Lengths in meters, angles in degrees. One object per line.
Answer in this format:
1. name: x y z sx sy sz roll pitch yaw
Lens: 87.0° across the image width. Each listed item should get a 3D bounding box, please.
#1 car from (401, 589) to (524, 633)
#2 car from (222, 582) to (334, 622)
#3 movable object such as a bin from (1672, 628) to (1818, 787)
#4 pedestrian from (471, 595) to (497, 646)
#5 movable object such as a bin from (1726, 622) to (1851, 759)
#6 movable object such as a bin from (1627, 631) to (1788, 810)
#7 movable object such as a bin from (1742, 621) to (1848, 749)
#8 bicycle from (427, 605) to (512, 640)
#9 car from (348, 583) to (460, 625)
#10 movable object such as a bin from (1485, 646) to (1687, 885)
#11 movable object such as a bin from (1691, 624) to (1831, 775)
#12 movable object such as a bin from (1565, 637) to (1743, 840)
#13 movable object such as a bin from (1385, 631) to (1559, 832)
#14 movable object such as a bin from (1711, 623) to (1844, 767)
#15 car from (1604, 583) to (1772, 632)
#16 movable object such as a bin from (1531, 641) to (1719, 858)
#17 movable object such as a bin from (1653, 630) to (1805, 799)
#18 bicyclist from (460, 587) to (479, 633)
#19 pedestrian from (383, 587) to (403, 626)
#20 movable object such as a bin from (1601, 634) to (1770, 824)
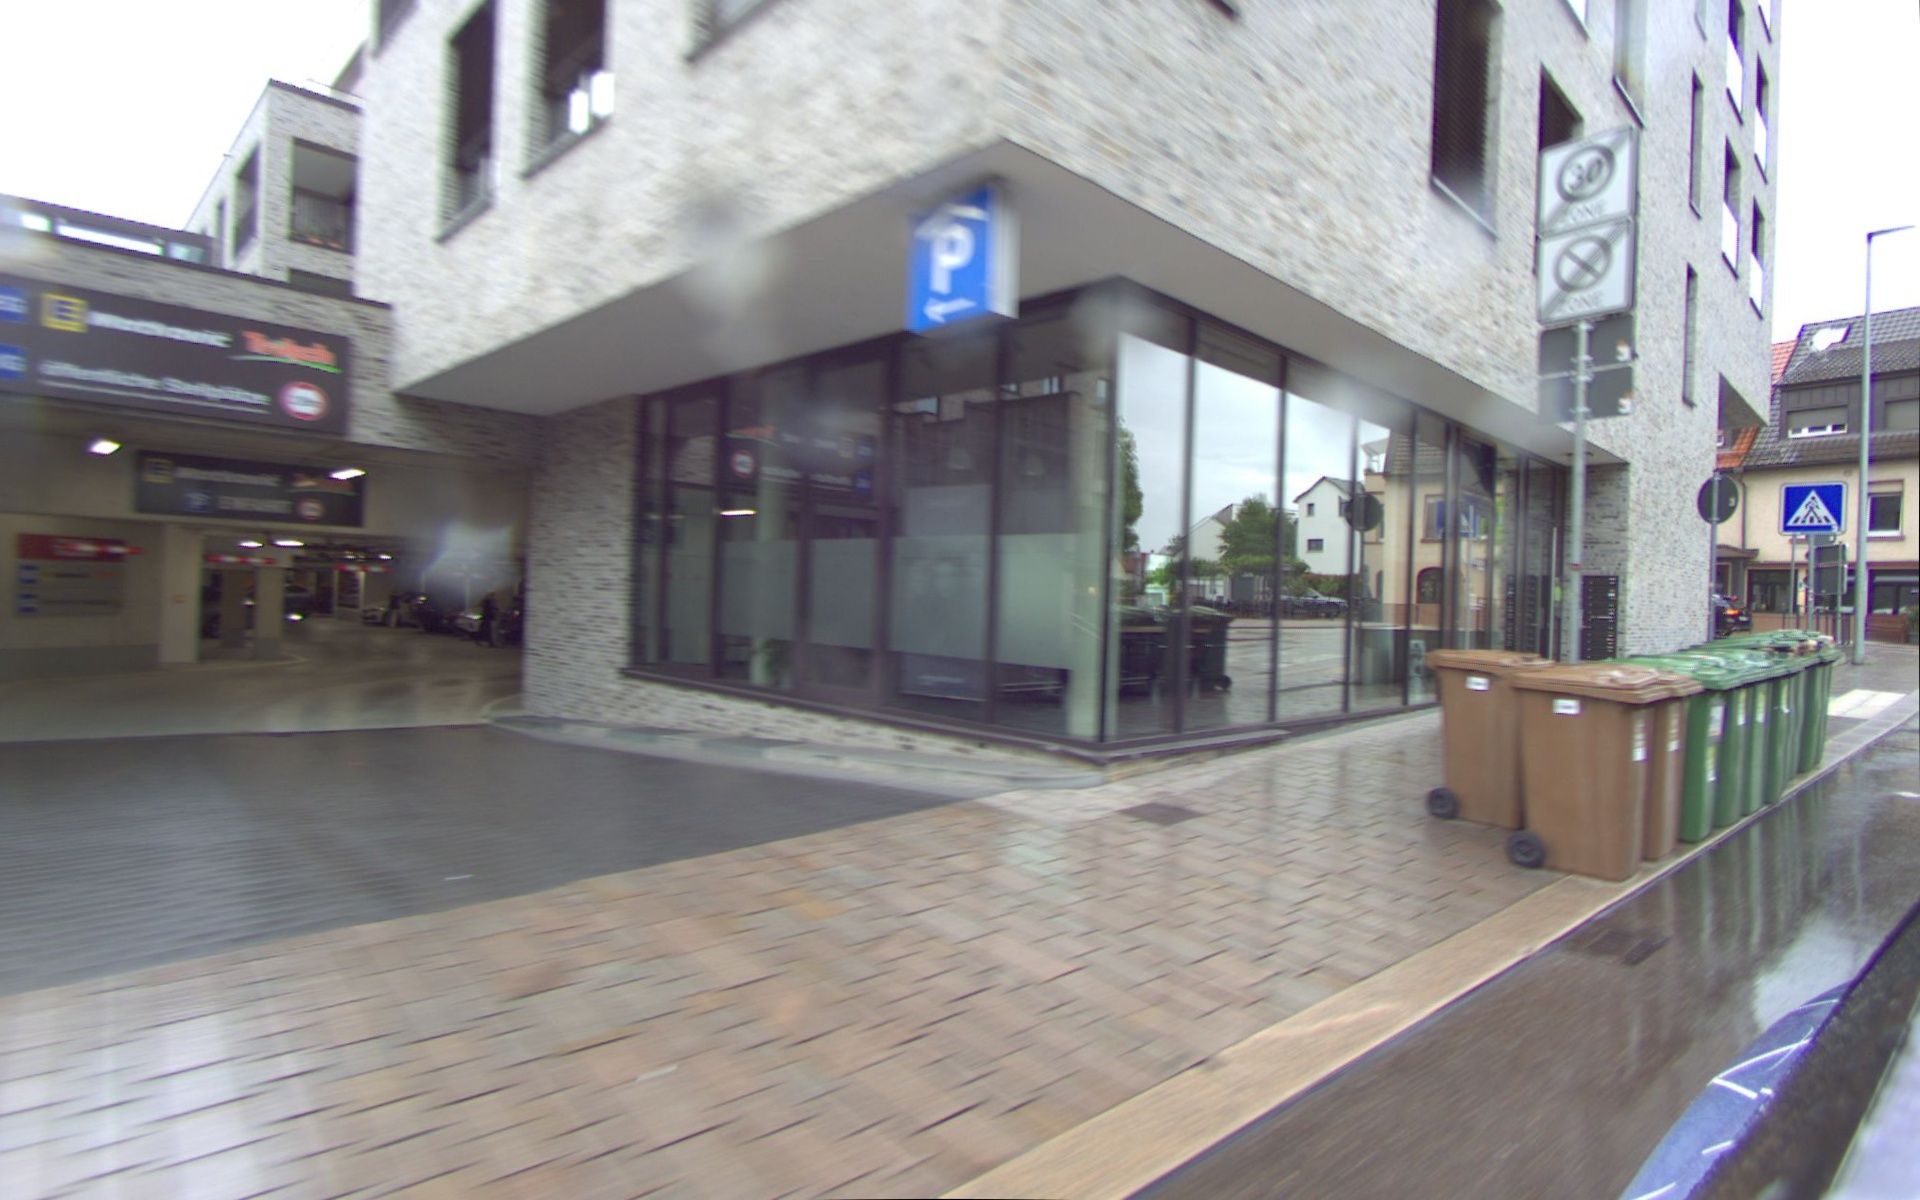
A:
1. car: -19.538 0.404 39.785 3.933 1.526 1.931 0 3 -44
2. car: -31.179 0.049 46.393 1.865 1.637 3.980 3 2 16
3. movable object such as a bin: 6.145 0.806 7.930 0.571 1.109 0.767 0 2 -41
4. pedestrian: -15.139 0.648 32.189 0.563 1.564 0.807 1 2 -38
5. movable object such as a bin: 7.442 0.785 9.098 0.646 1.109 0.741 0 2 -42
6. movable object such as a bin: 5.260 0.810 7.136 0.571 1.109 0.767 0 2 -41
7. movable object such as a bin: 7.879 0.774 9.549 0.542 1.109 0.664 0 2 -42
8. bicycle: -16.895 0.774 34.911 2.605 1.103 0.703 2 2 -25
9. car: -23.864 0.163 43.511 3.929 1.637 1.784 1 3 -40
10. movable object such as a bin: 3.402 0.847 5.519 0.571 1.109 0.767 0 2 -41
11. movable object such as a bin: 6.573 0.780 8.316 0.571 1.109 0.767 0 2 -41
12. movable object such as a bin: 4.351 0.826 6.363 0.571 1.109 0.767 0 2 -41
13. movable object such as a bin: 3.226 0.781 6.390 0.616 1.109 0.767 0 2 -41
14. movable object such as a bin: 7.023 0.785 8.703 0.571 1.109 0.767 0 2 -41
15. car: 25.443 0.228 35.533 1.637 1.448 4.475 5 0 -30
16. movable object such as a bin: 3.916 0.833 5.976 0.571 1.109 0.767 0 2 -41
17. movable object such as a bin: 5.712 0.815 7.529 0.571 1.109 0.767 0 2 -41
18. bicyclist: -16.904 0.341 34.882 0.520 1.555 0.676 2 2 -25
19. pedestrian: -23.056 0.260 41.167 0.563 1.564 0.807 1 2 -38
20. movable object such as a bin: 4.826 0.815 6.746 0.571 1.109 0.767 0 2 -41
